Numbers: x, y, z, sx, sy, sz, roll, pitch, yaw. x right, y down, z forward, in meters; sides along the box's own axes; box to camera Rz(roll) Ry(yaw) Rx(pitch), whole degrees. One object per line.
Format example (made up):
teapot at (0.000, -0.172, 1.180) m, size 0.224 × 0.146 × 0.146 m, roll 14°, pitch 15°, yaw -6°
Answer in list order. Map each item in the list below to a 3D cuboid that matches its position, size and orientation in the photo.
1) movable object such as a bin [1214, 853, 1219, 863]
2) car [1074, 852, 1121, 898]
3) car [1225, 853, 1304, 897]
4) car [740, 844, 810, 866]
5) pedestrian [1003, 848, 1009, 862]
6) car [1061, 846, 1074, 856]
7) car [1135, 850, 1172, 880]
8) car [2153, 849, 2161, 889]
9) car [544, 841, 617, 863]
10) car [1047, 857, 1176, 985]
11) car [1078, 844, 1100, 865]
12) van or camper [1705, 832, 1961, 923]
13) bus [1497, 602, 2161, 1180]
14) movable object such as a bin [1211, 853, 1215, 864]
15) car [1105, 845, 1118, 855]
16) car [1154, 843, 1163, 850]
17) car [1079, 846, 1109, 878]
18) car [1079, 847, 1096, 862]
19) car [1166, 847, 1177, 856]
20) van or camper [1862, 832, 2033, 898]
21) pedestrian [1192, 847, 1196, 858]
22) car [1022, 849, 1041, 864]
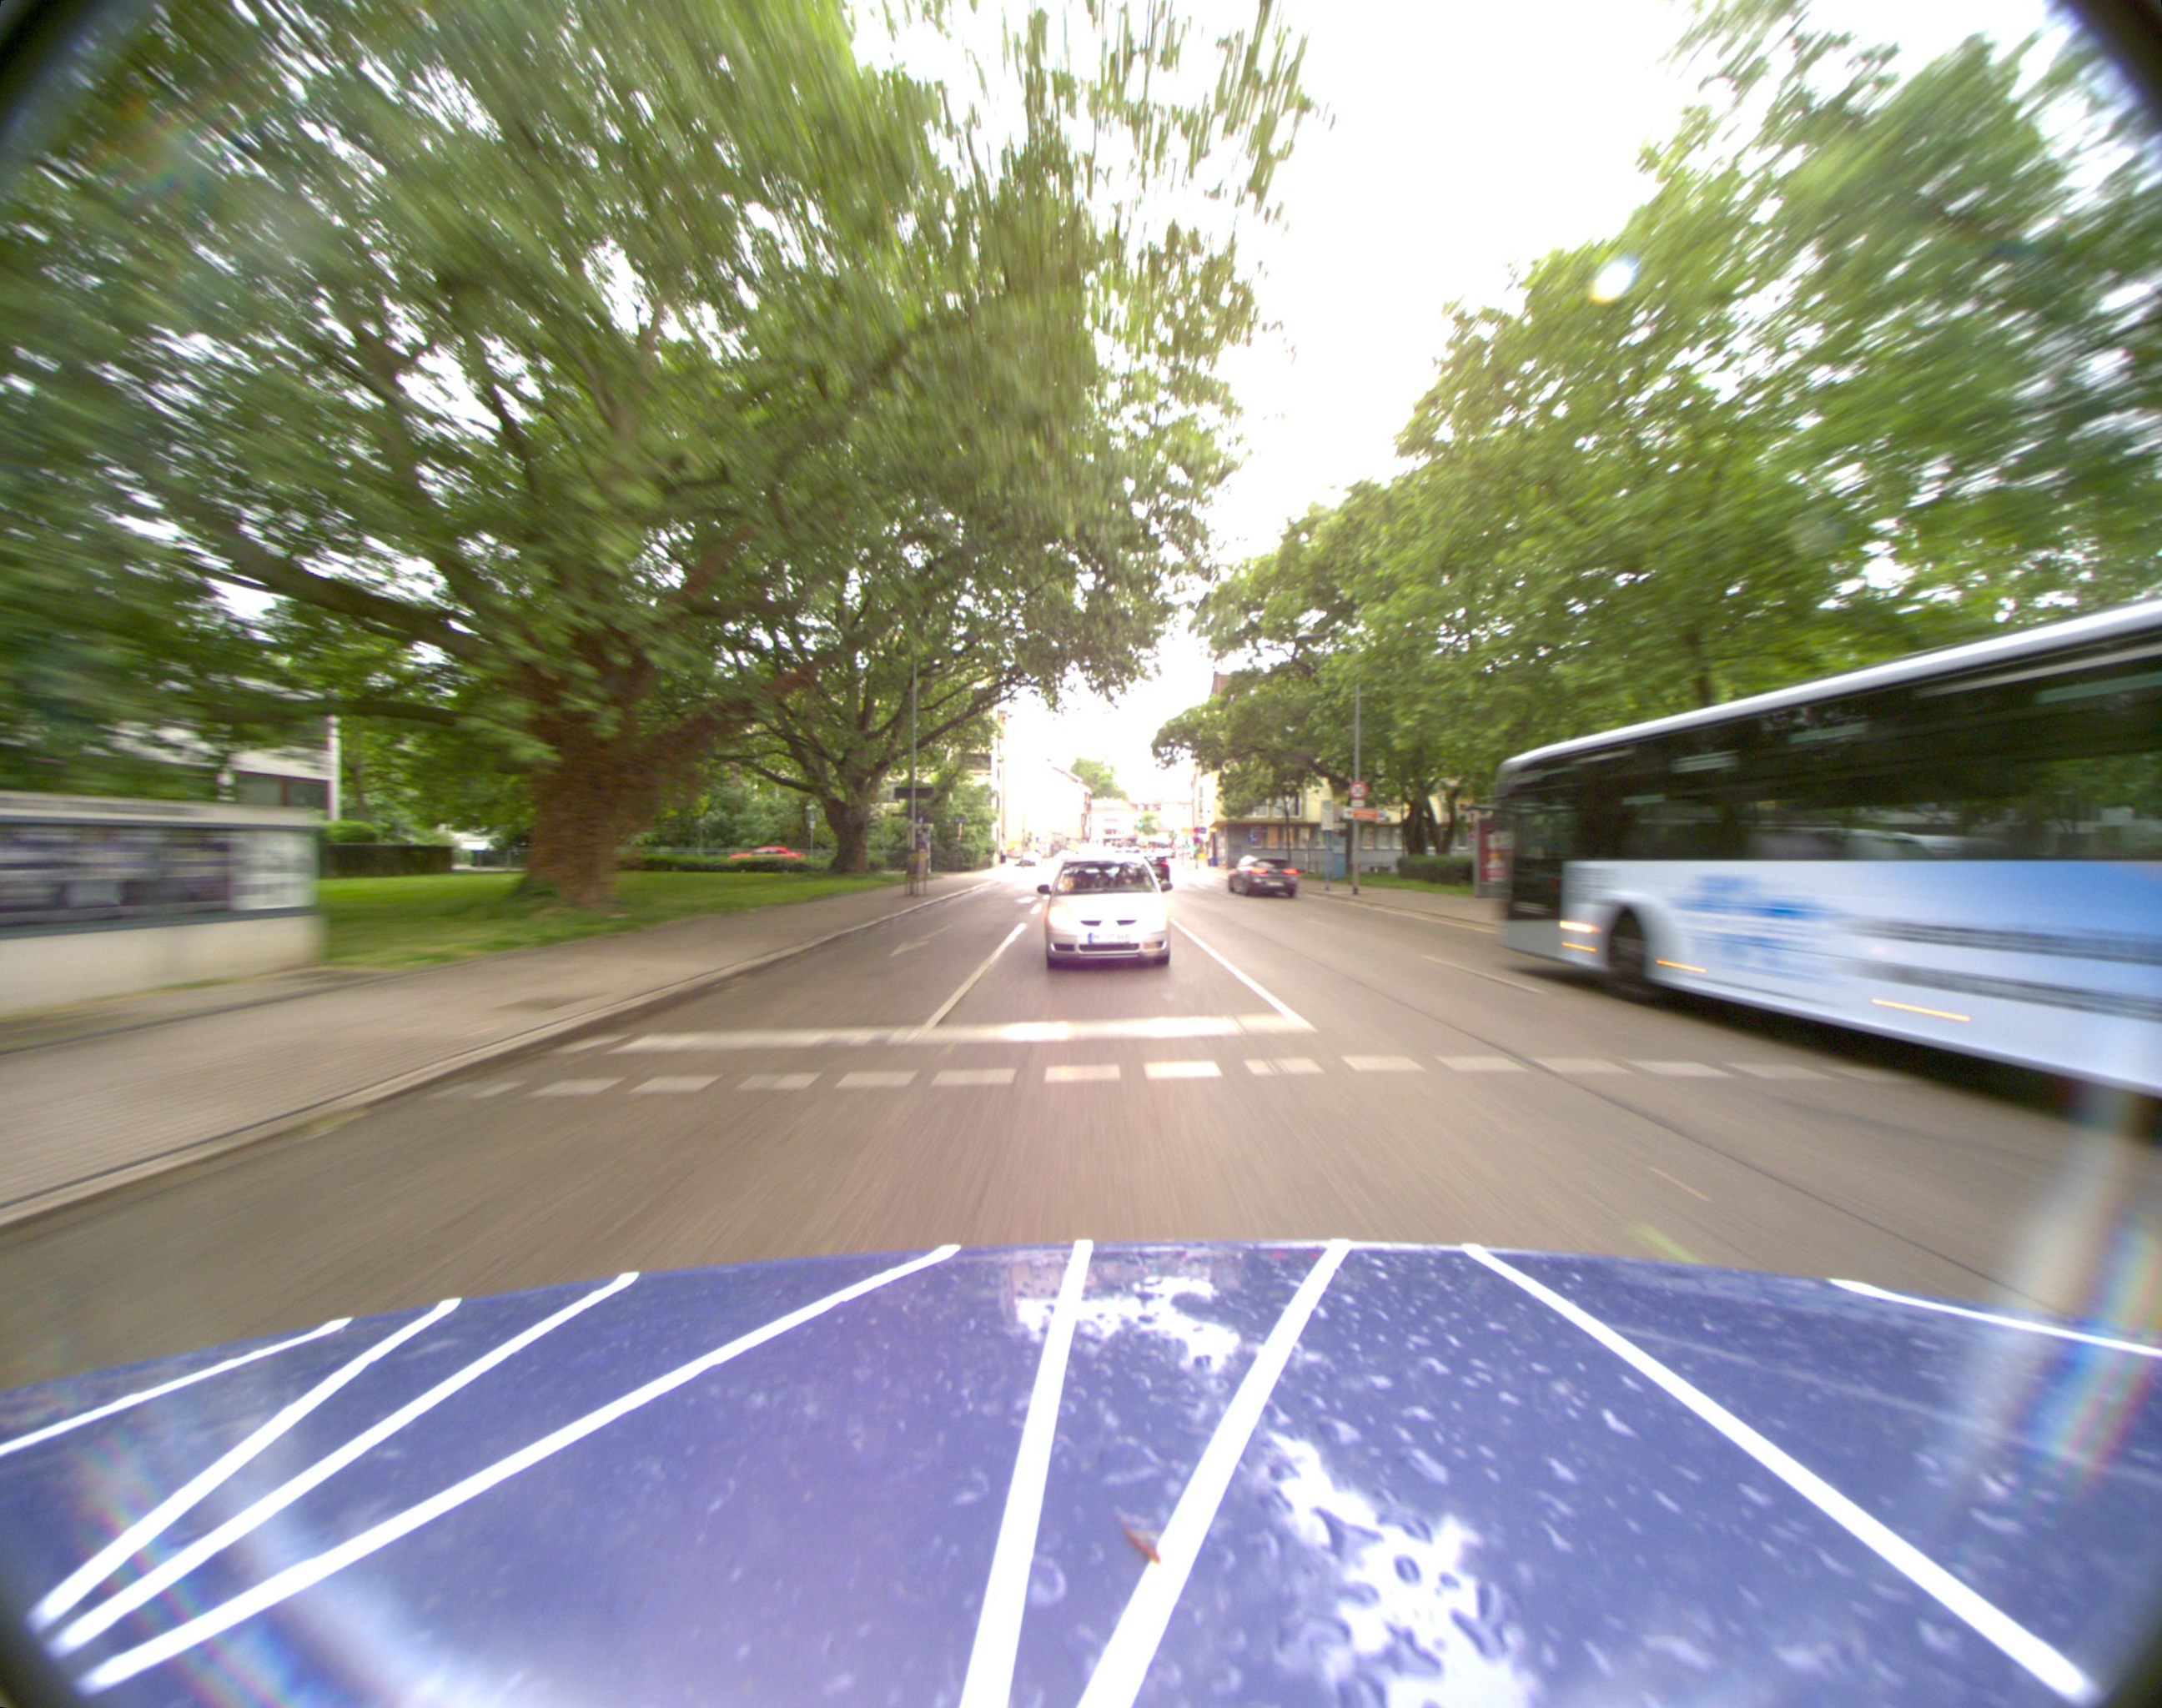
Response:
movable object such as a bin at (13.335, 0.384, 74.628) m, size 0.415 × 1.023 × 0.353 m, roll 1°, pitch 1°, yaw 8°
car at (0.623, 0.716, 27.881) m, size 1.590 × 1.540 × 3.771 m, roll 1°, pitch 1°, yaw 2°
car at (6.622, 0.720, 27.843) m, size 1.813 × 1.409 × 4.030 m, roll 2°, pitch 0°, yaw -1°
car at (-19.202, 0.054, 47.772) m, size 3.792 × 1.271 × 1.575 m, roll 1°, pitch 1°, yaw -8°
pedestrian at (-7.960, 0.130, 80.740) m, size 0.480 × 1.521 × 0.481 m, roll 1°, pitch 1°, yaw 0°
car at (-2.030, -0.402, 114.144) m, size 1.802 × 1.434 × 3.896 m, roll 1°, pitch 1°, yaw 0°
car at (3.645, 0.541, 38.653) m, size 1.628 × 1.407 × 3.454 m, roll 1°, pitch 1°, yaw 1°
car at (49.884, 0.696, 33.075) m, size 3.933 × 1.763 × 1.817 m, roll 1°, pitch 1°, yaw -2°
car at (-30.824, -0.114, 46.862) m, size 3.468 × 1.271 × 1.448 m, roll 1°, pitch 1°, yaw -5°
car at (0.401, 0.846, 11.082) m, size 1.576 × 1.514 × 3.240 m, roll -1°, pitch 1°, yaw 1°
car at (0.738, 0.031, 69.520) m, size 1.935 × 1.817 × 3.999 m, roll 0°, pitch 1°, yaw 0°
van or camper at (18.910, 0.557, 19.266) m, size 4.494 × 2.157 × 2.047 m, roll 1°, pitch 1°, yaw -2°
bus at (6.920, 0.189, 4.243) m, size 2.773 × 2.957 × 11.779 m, roll 0°, pitch 1°, yaw 0°
movable object such as a bin at (12.953, 0.435, 74.599) m, size 0.338 × 1.023 × 0.353 m, roll 1°, pitch 1°, yaw 8°
car at (4.588, -0.582, 115.070) m, size 1.701 × 1.434 × 3.896 m, roll 1°, pitch 1°, yaw 0°
car at (19.229, -1.827, 188.565) m, size 1.998 × 1.631 × 4.001 m, roll 1°, pitch 1°, yaw 4°
car at (0.694, 0.427, 42.884) m, size 1.584 × 1.706 × 3.648 m, roll 1°, pitch 1°, yaw 0°
car at (0.747, 0.043, 89.979) m, size 1.935 × 1.817 × 3.999 m, roll 1°, pitch 0°, yaw 0°
car at (17.505, -0.556, 147.377) m, size 1.889 × 1.707 × 4.001 m, roll 1°, pitch 1°, yaw 4°
van or camper at (34.633, 0.405, 30.477) m, size 4.424 × 2.522 × 2.098 m, roll 1°, pitch 1°, yaw -1°
pedestrian at (18.514, -0.194, 124.989) m, size 0.594 × 1.833 × 0.565 m, roll 1°, pitch 1°, yaw 8°
car at (-5.164, 0.207, 79.765) m, size 1.681 × 1.424 × 3.681 m, roll 4°, pitch 1°, yaw 0°
